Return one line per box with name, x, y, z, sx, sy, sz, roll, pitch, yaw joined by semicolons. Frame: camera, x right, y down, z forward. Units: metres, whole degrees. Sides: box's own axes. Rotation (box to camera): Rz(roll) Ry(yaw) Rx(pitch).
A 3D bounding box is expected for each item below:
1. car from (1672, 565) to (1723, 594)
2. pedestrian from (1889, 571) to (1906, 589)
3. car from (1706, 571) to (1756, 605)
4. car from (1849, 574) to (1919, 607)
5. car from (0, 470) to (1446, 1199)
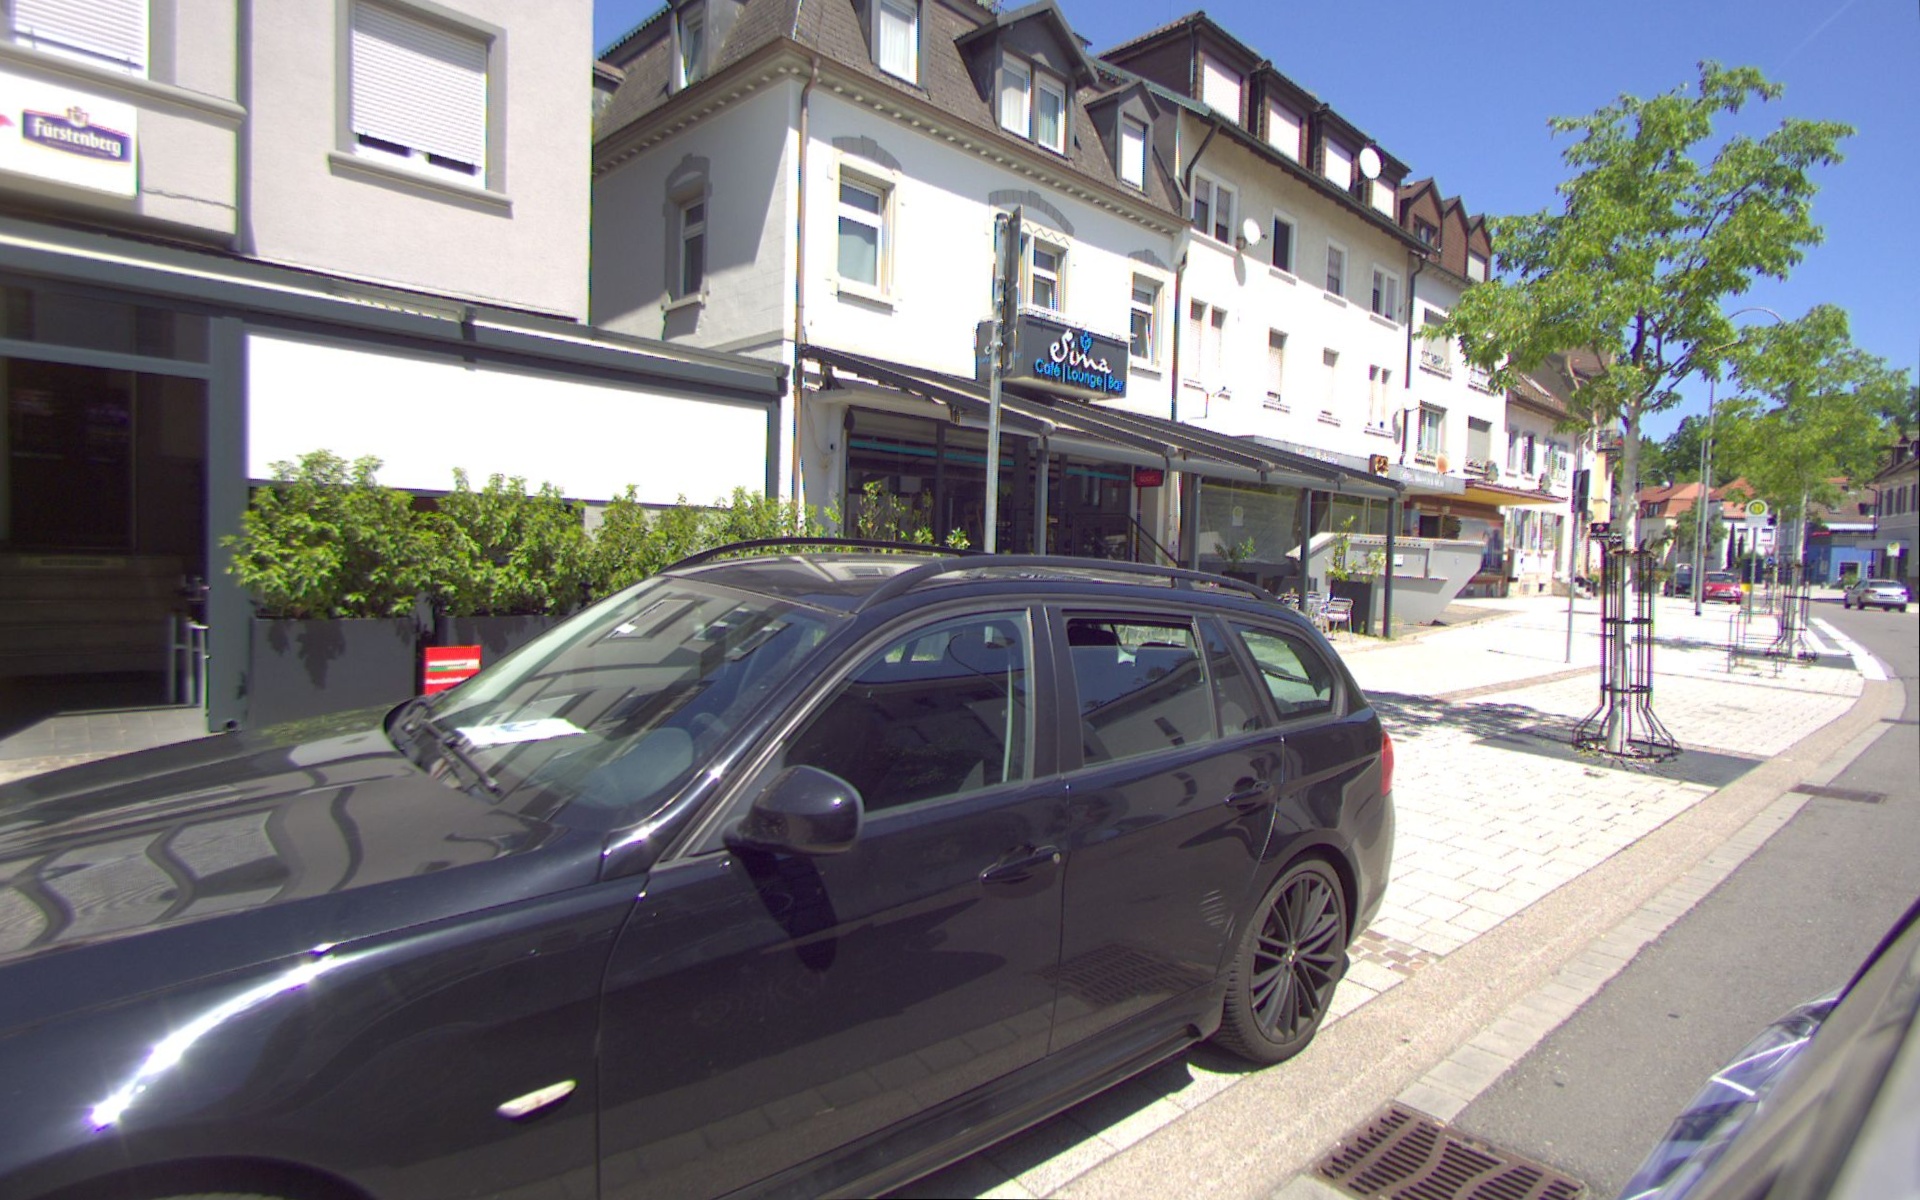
car;43.396;-1.245;59.644;1.720;1.490;4.283;5;4;28
pedestrian;56.335;-1.208;60.810;0.592;1.072;0.562;2;2;27
car;36.976;-0.606;48.579;1.673;1.533;3.346;2;2;34
car;42.516;-0.480;46.397;1.656;1.413;3.813;2;2;26
car;-0.508;0.498;2.769;4.025;1.499;1.837;-2;6;-42
